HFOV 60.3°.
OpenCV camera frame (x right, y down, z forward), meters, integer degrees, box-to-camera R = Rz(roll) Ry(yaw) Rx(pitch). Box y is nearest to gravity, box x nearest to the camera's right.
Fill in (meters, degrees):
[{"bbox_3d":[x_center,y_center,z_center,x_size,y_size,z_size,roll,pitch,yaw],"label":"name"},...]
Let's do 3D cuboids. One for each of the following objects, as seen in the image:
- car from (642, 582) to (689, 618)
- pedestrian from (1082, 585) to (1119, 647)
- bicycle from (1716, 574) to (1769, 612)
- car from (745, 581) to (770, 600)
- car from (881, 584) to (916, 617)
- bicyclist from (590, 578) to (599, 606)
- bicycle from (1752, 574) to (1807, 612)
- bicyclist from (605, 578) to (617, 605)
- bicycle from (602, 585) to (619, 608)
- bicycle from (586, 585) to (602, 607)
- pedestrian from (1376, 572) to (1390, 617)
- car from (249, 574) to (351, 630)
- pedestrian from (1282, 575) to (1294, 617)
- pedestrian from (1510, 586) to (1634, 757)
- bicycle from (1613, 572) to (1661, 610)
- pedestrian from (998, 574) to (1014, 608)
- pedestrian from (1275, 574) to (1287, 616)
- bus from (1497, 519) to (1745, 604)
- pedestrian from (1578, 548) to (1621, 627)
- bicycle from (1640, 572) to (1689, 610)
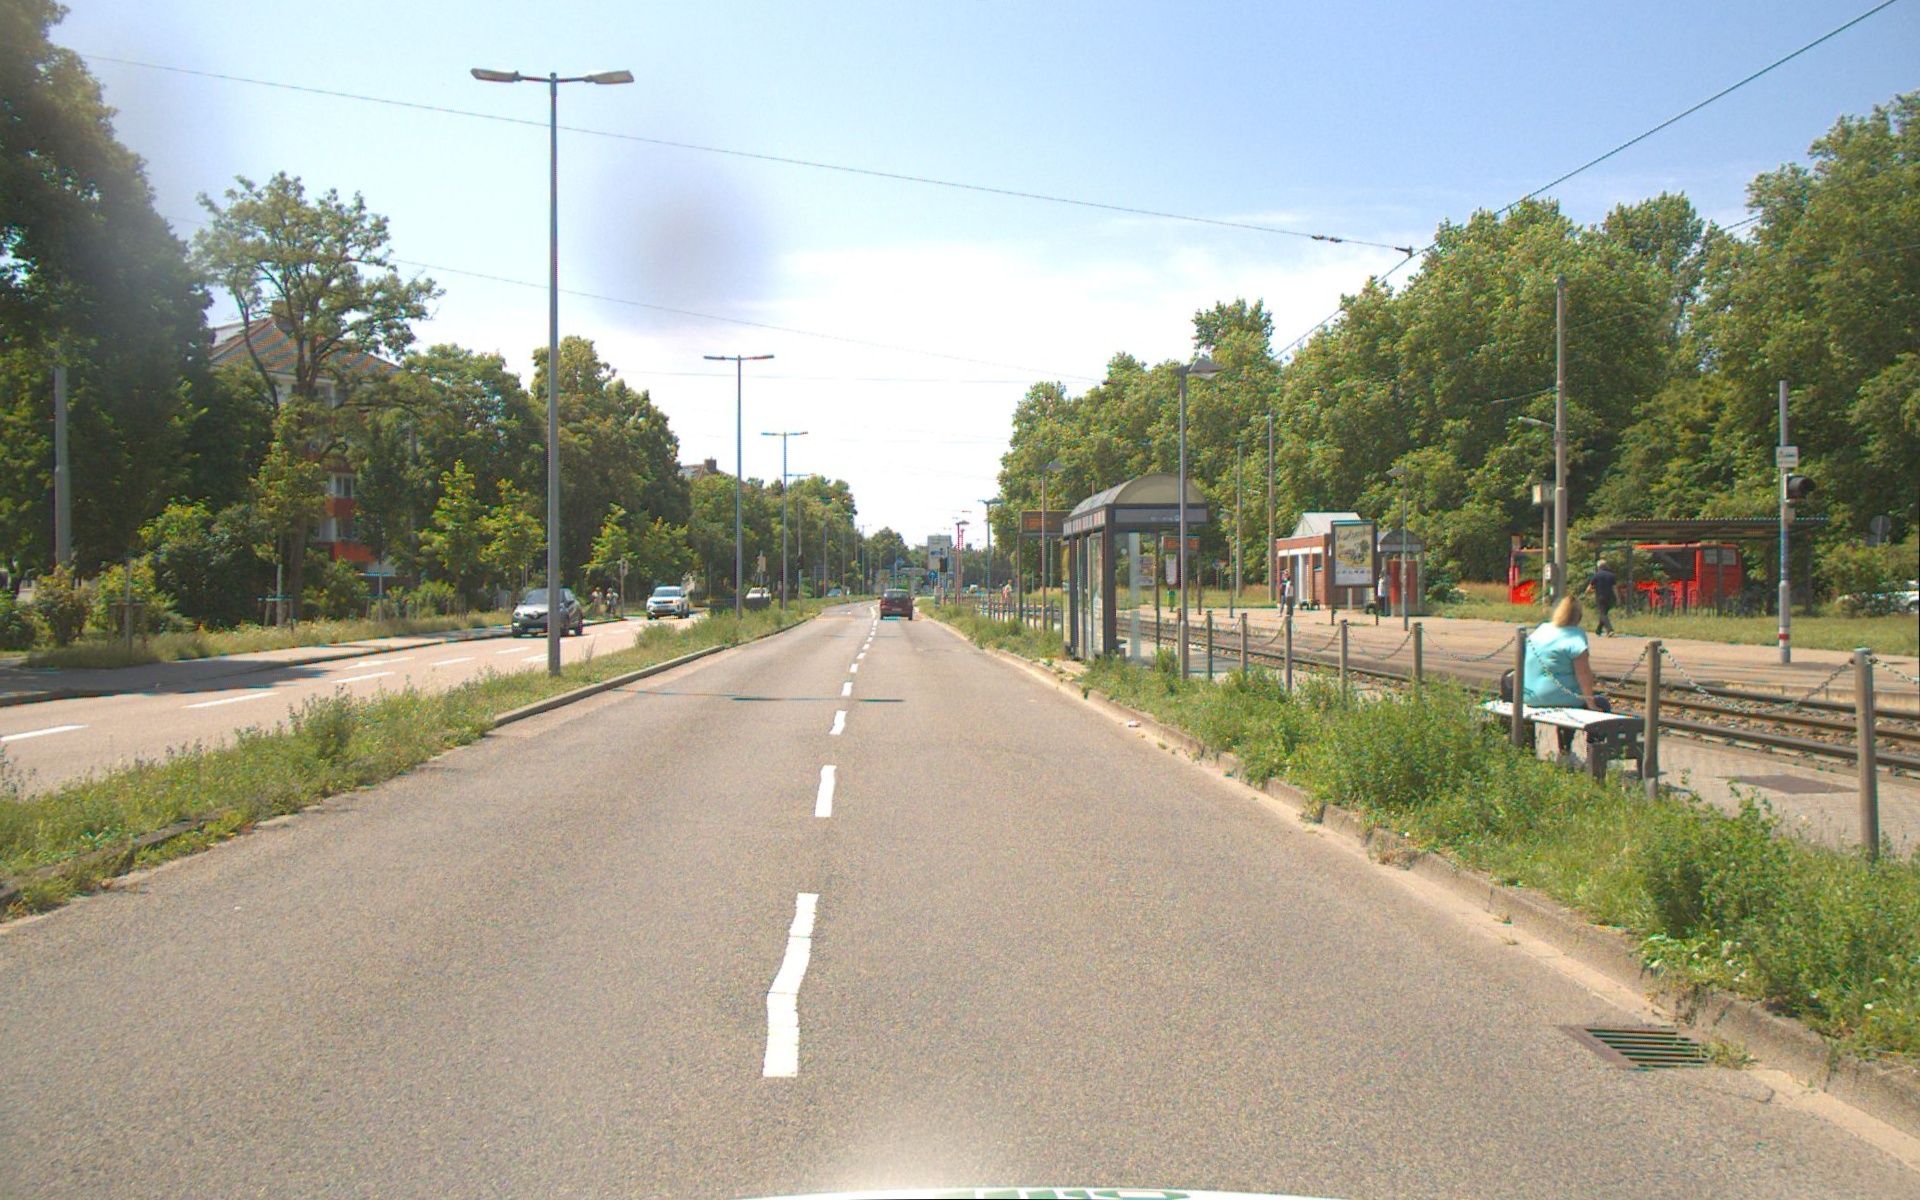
[{"bbox_3d":[-15.329,-0.008,86.335,1.822,1.789,4.477,1,0,-3],"label":"car"},{"bbox_3d":[2.479,0.279,29.159,0.564,1.058,0.579,-1,1,-3],"label":"pedestrian"},{"bbox_3d":[24.940,-0.247,52.763,0.585,1.106,2.191,-1,3,-2],"label":"bicycle"},{"bbox_3d":[-17.317,-0.814,141.376,1.784,1.600,4.345,-1,1,-3],"label":"car"},{"bbox_3d":[-2.997,0.001,80.899,1.668,1.503,3.715,-1,1,-2],"label":"car"},{"bbox_3d":[-19.143,-0.425,86.712,0.350,1.416,0.440,1,0,0],"label":"bicyclist"},{"bbox_3d":[26.088,-0.228,52.676,0.585,1.106,2.191,-1,3,-2],"label":"bicycle"},{"bbox_3d":[-18.321,-0.451,86.822,0.534,1.369,0.755,-1,0,-4],"label":"bicyclist"},{"bbox_3d":[-18.327,-0.196,86.771,0.576,1.153,1.615,-1,1,-2],"label":"bicycle"},{"bbox_3d":[-19.170,-0.203,86.644,0.543,1.113,1.379,1,0,-1],"label":"bicycle"},{"bbox_3d":[15.457,-0.192,60.456,0.352,1.624,0.612,1,-1,2],"label":"pedestrian"},{"bbox_3d":[-20.446,0.063,51.391,1.733,1.581,4.080,-2,0,-4],"label":"car"},{"bbox_3d":[12.791,-0.156,64.541,0.353,1.624,0.483,1,-1,0],"label":"pedestrian"},{"bbox_3d":[4.245,0.488,11.494,0.597,1.149,0.620,1,-1,-4],"label":"pedestrian"},{"bbox_3d":[21.538,-0.314,52.667,0.585,1.106,2.191,-1,3,-2],"label":"bicycle"},{"bbox_3d":[2.501,-0.471,89.365,0.624,1.790,0.813,1,-1,-16],"label":"pedestrian"},{"bbox_3d":[12.649,-0.198,65.159,0.353,1.675,0.445,1,-1,0],"label":"pedestrian"},{"bbox_3d":[29.764,-1.629,75.439,2.721,3.499,12.363,1,0,-22],"label":"bus"},{"bbox_3d":[14.673,-0.291,37.960,0.691,1.795,0.657,-1,0,-1],"label":"pedestrian"},{"bbox_3d":[22.436,-0.294,52.708,0.585,1.106,2.191,-1,3,-2],"label":"bicycle"}]
